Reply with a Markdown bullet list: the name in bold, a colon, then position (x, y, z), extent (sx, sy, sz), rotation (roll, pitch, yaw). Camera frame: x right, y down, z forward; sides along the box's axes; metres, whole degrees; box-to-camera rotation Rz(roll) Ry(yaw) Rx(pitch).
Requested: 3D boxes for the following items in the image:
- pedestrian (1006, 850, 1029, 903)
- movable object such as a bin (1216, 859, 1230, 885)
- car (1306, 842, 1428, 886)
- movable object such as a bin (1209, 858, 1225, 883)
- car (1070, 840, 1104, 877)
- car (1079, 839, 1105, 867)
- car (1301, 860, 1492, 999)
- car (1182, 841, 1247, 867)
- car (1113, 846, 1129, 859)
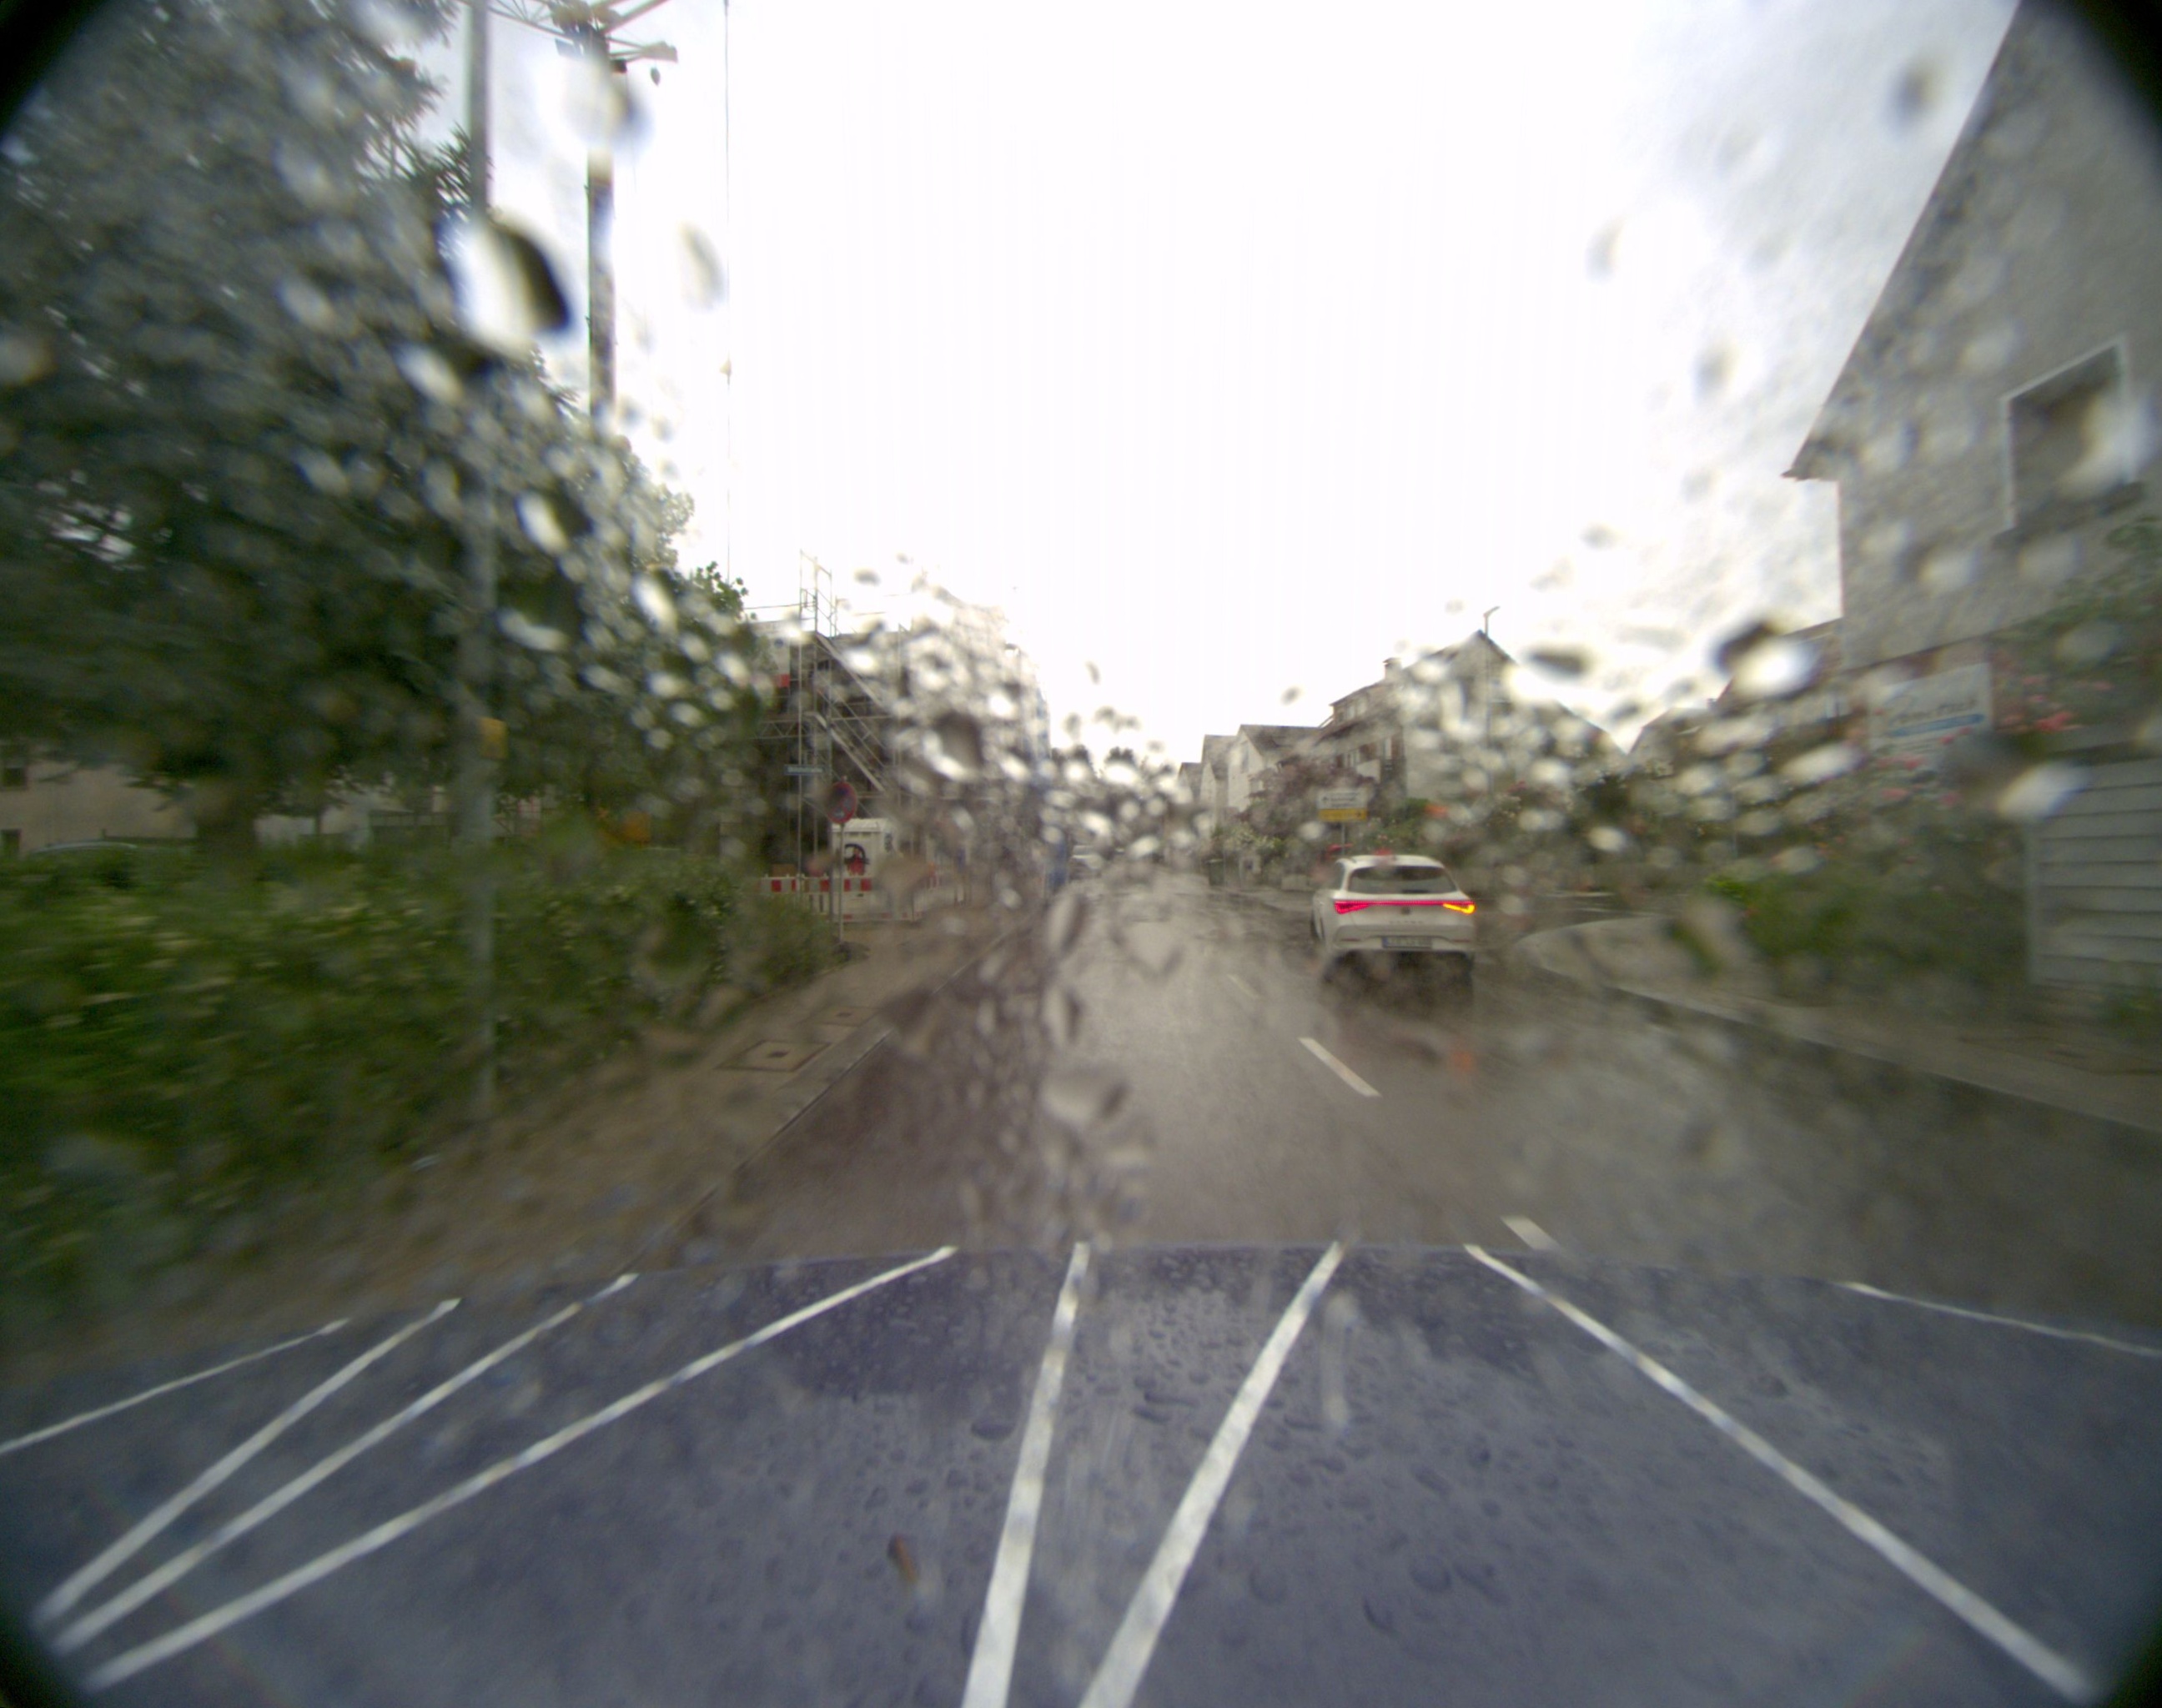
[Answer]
- **pedestrian**: position (-1.913, 0.671, 22.908), extent (0.655, 1.572, 0.436), rotation (1, 1, 1)
- **movable object such as a bin**: position (5.905, 0.750, 31.614), extent (0.521, 1.020, 0.414), rotation (-2, 1, 2)
- **car**: position (10.845, 0.366, 28.973), extent (3.999, 1.590, 1.720), rotation (0, 1, -6)
- **movable object such as a bin**: position (5.761, 0.696, 32.184), extent (0.521, 1.043, 0.414), rotation (-4, 1, 2)
- **car**: position (0.389, 0.209, 43.521), extent (1.827, 1.964, 4.517), rotation (-1, 1, 2)
- **car**: position (0.835, -0.104, 60.599), extent (1.711, 2.089, 3.939), rotation (-2, 0, -3)
- **car**: position (4.052, 0.840, 10.450), extent (1.589, 1.401, 4.212), rotation (1, 1, 11)
- **car**: position (9.229, -0.033, 52.644), extent (4.000, 1.696, 1.780), rotation (-1, 1, -10)
- **car**: position (4.892, -0.202, 94.085), extent (1.708, 1.508, 3.591), rotation (-1, 1, -1)
